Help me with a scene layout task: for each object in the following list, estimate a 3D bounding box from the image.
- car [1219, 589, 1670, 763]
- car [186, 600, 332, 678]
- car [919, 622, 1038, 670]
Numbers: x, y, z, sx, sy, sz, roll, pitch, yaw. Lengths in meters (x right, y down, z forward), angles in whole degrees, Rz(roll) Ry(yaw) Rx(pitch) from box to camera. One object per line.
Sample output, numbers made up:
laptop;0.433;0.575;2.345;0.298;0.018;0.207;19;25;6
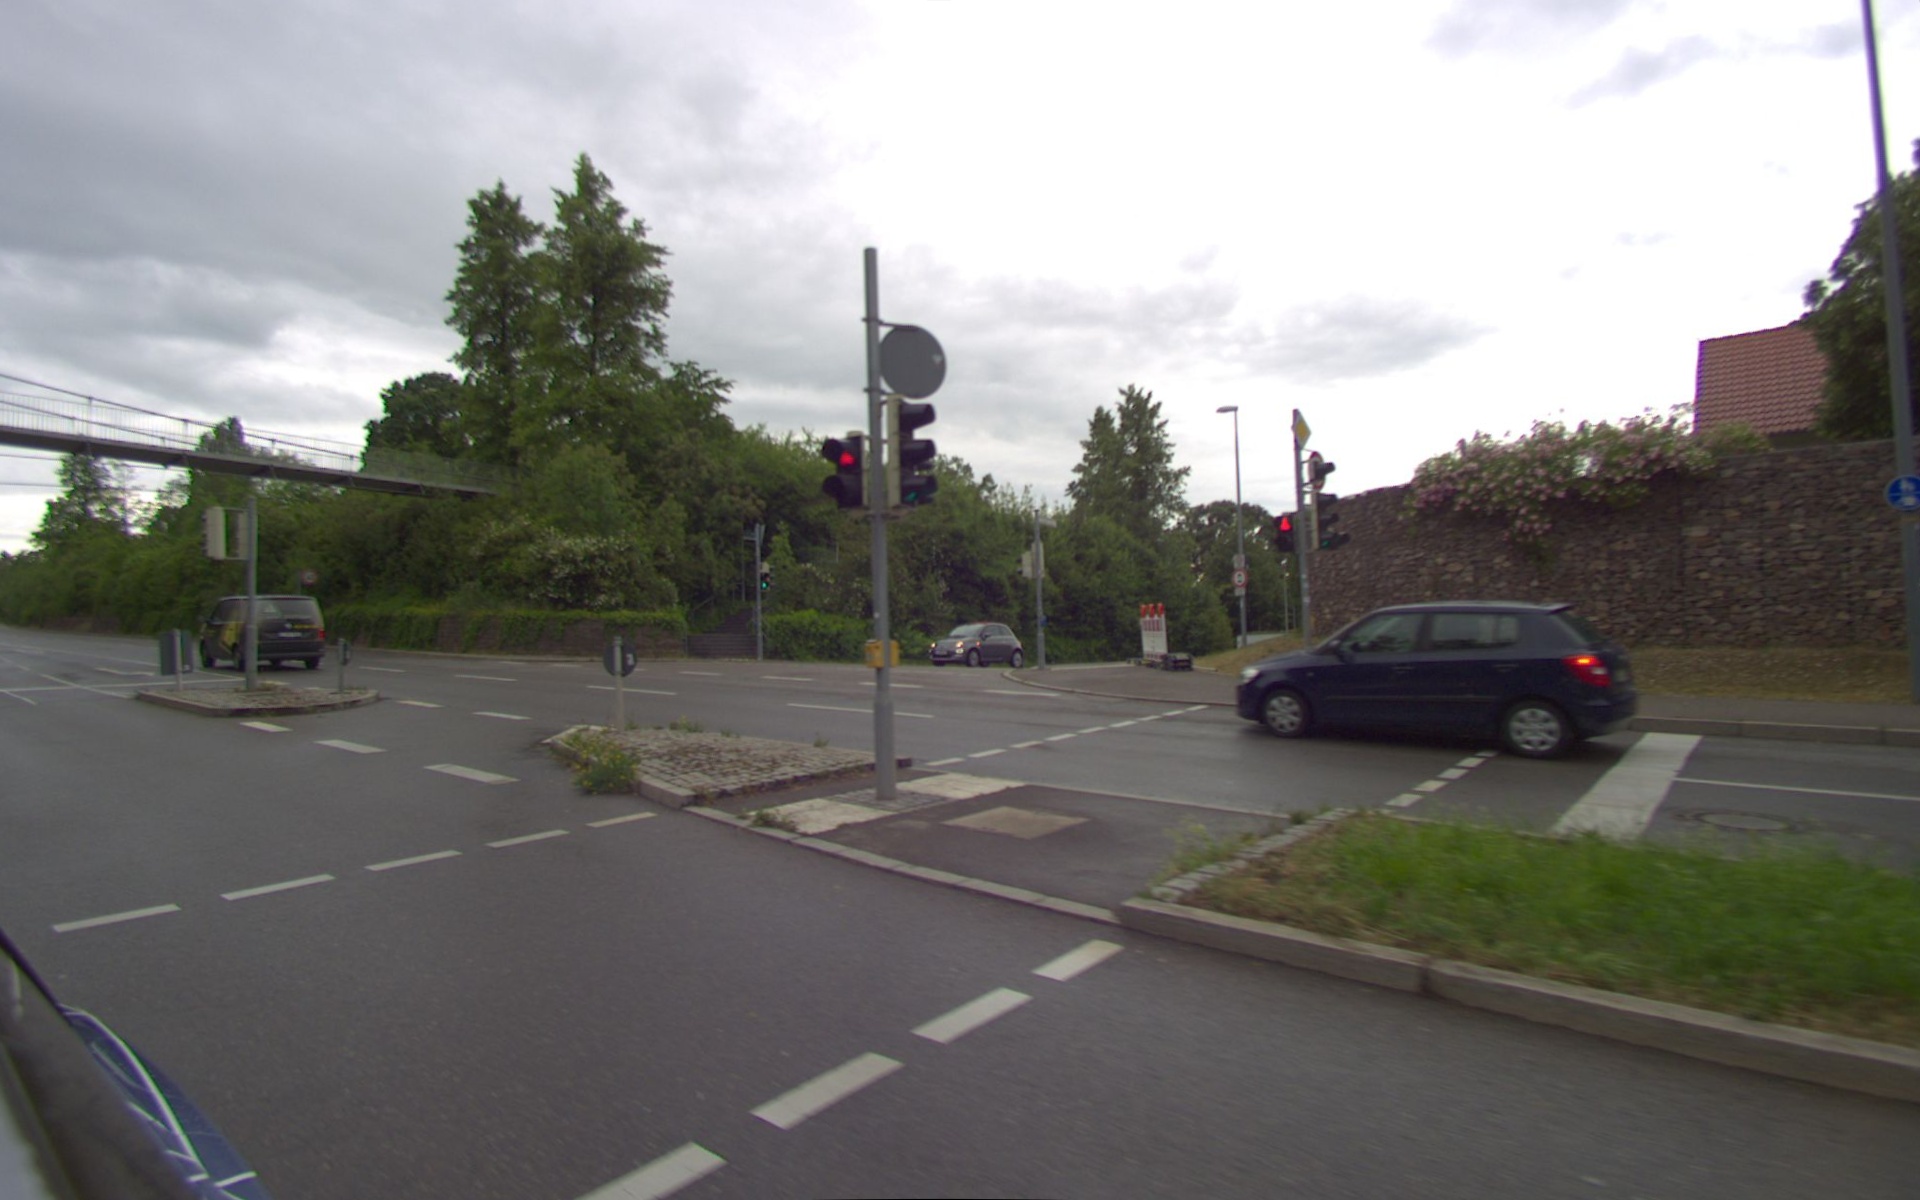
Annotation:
car;4.940;0.693;10.667;3.999;1.501;1.581;-1;-1;42
car;-19.201;1.015;27.626;5.090;1.934;1.993;-1;-1;40
car;0.656;1.532;33.359;1.692;1.484;3.942;-4;-5;43
